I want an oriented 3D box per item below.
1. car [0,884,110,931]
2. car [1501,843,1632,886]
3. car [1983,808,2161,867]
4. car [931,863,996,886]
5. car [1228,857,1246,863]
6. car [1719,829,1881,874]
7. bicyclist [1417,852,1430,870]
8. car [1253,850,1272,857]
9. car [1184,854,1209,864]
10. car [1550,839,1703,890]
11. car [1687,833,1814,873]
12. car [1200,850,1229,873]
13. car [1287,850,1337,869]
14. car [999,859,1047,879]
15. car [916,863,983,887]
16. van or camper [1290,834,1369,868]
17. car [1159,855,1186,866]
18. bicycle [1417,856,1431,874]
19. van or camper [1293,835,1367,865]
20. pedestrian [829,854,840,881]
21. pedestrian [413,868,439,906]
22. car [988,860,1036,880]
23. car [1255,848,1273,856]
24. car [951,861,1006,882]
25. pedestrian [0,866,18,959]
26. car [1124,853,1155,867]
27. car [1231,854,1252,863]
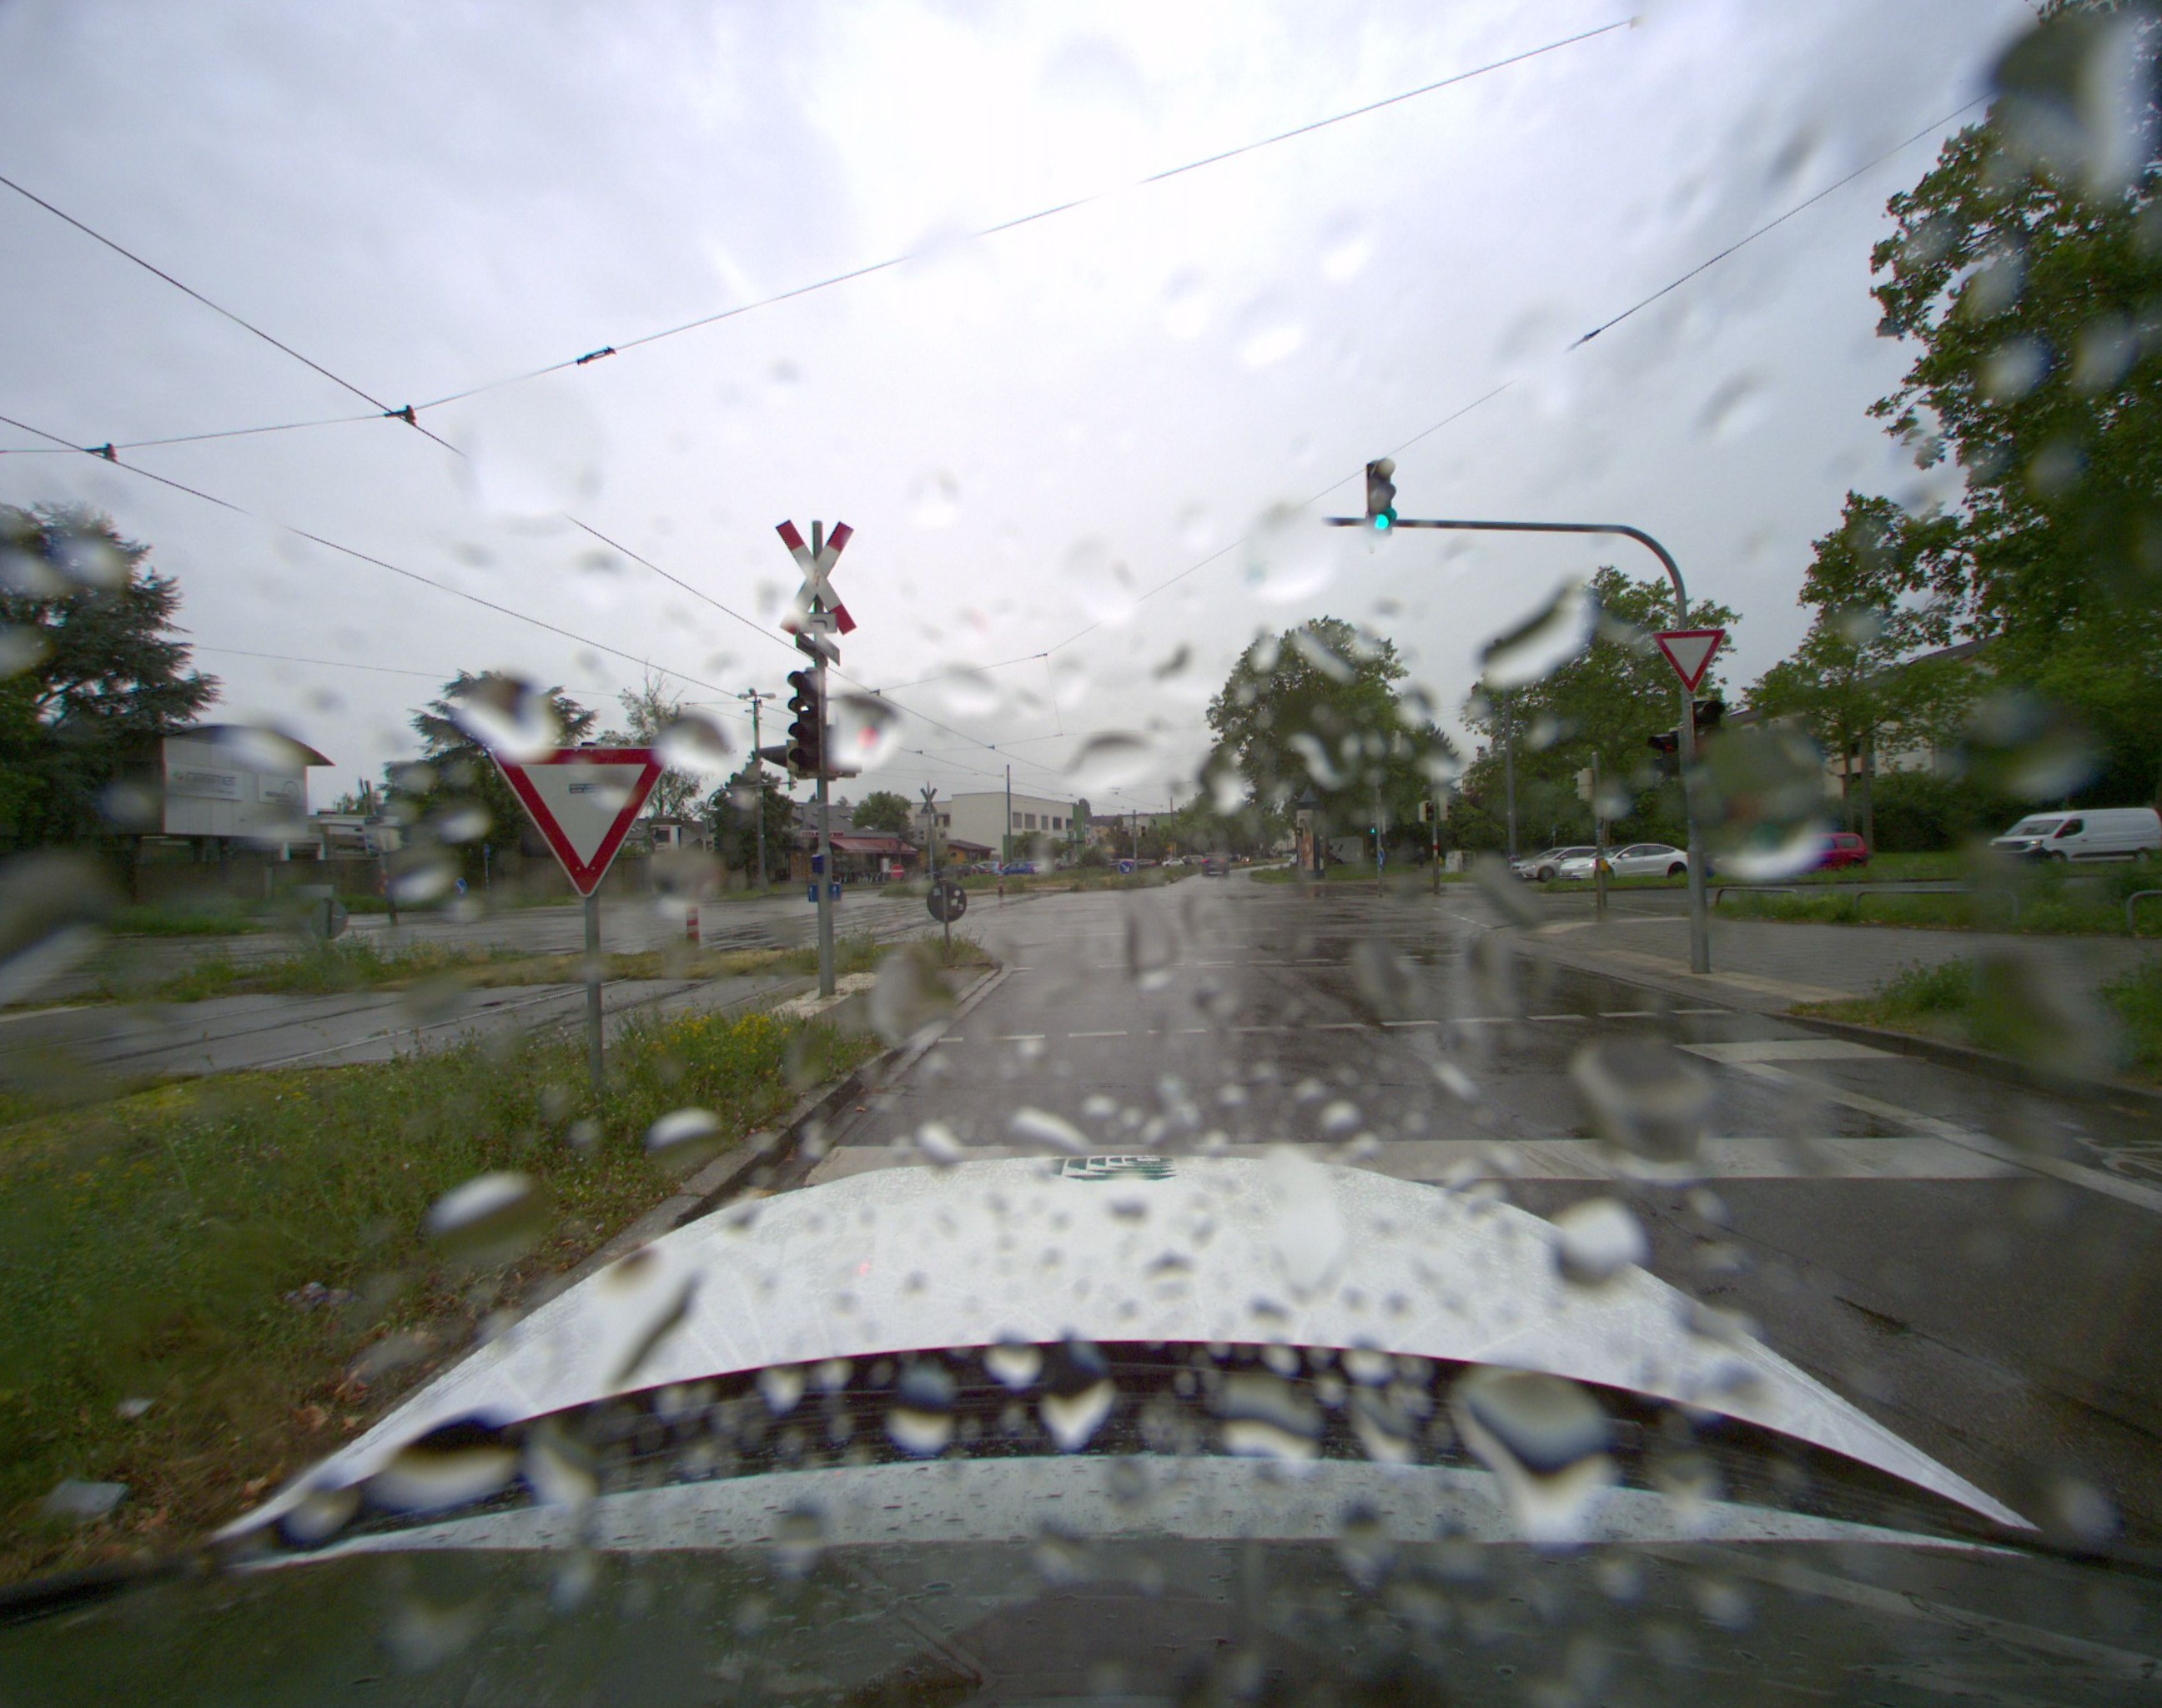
[{"bbox_3d":[-34.780,1.728,26.401,4.118,1.399,1.688,0,-1,-9],"label":"car"},{"bbox_3d":[20.219,0.420,34.010,4.385,1.691,1.931,0,-1,-5],"label":"car"},{"bbox_3d":[42.236,-0.670,34.659,5.589,2.392,1.999,0,-1,-2],"label":"car"},{"bbox_3d":[-8.873,1.548,61.717,4.478,1.418,1.860,-3,-1,3],"label":"car"},{"bbox_3d":[34.563,1.295,180.756,3.868,1.354,1.764,0,-1,4],"label":"car"},{"bbox_3d":[26.986,-0.078,30.663,4.589,1.607,1.790,0,-1,-1],"label":"car"},{"bbox_3d":[27.340,0.578,65.000,0.854,1.425,0.961,-1,-1,20],"label":"bicyclist"},{"bbox_3d":[44.065,-0.123,197.909,3.977,1.832,1.998,0,-1,-3],"label":"car"},{"bbox_3d":[20.427,0.864,144.622,3.986,1.759,2.004,0,-1,-10],"label":"car"},{"bbox_3d":[20.476,0.370,30.683,4.585,1.828,1.931,0,-1,-5],"label":"car"},{"bbox_3d":[28.195,-0.035,34.358,4.048,1.607,1.788,0,-1,-5],"label":"car"},{"bbox_3d":[10.251,0.585,62.370,1.793,1.686,3.927,-1,-1,15],"label":"car"},{"bbox_3d":[21.926,0.513,77.270,4.405,1.717,2.011,-1,-1,23],"label":"car"},{"bbox_3d":[-5.219,1.365,73.209,4.112,1.641,1.922,-1,-1,-12],"label":"car"},{"bbox_3d":[-9.554,1.520,59.377,4.459,1.418,1.860,-3,-1,3],"label":"car"},{"bbox_3d":[24.460,-0.224,80.142,7.261,3.178,3.278,-1,-1,20],"label":"van or camper"},{"bbox_3d":[14.226,0.965,126.641,3.772,1.702,1.832,0,-1,-8],"label":"car"},{"bbox_3d":[27.222,0.870,64.660,0.854,1.425,2.717,-1,-1,20],"label":"bicycle"},{"bbox_3d":[27.270,-0.416,89.239,7.359,3.178,3.281,-1,-1,24],"label":"van or camper"},{"bbox_3d":[-18.541,1.009,61.344,0.726,2.014,0.789,0,-1,-21],"label":"pedestrian"},{"bbox_3d":[-31.535,1.576,39.217,0.890,1.797,0.719,0,0,-33],"label":"pedestrian"},{"bbox_3d":[-5.974,1.368,70.092,3.986,1.582,1.924,-2,-1,-9],"label":"car"},{"bbox_3d":[45.512,-0.427,202.615,3.977,1.832,1.998,0,-1,-3],"label":"car"},{"bbox_3d":[-8.171,1.406,65.146,3.966,1.582,1.862,-2,-1,6],"label":"car"},{"bbox_3d":[-23.500,1.246,17.115,0.948,1.991,1.007,0,-1,-3],"label":"pedestrian"},{"bbox_3d":[7.914,0.854,110.012,3.980,1.887,1.997,0,-1,-5],"label":"car"},{"bbox_3d":[34.112,0.960,173.349,3.977,1.832,1.998,0,-1,-3],"label":"car"}]
